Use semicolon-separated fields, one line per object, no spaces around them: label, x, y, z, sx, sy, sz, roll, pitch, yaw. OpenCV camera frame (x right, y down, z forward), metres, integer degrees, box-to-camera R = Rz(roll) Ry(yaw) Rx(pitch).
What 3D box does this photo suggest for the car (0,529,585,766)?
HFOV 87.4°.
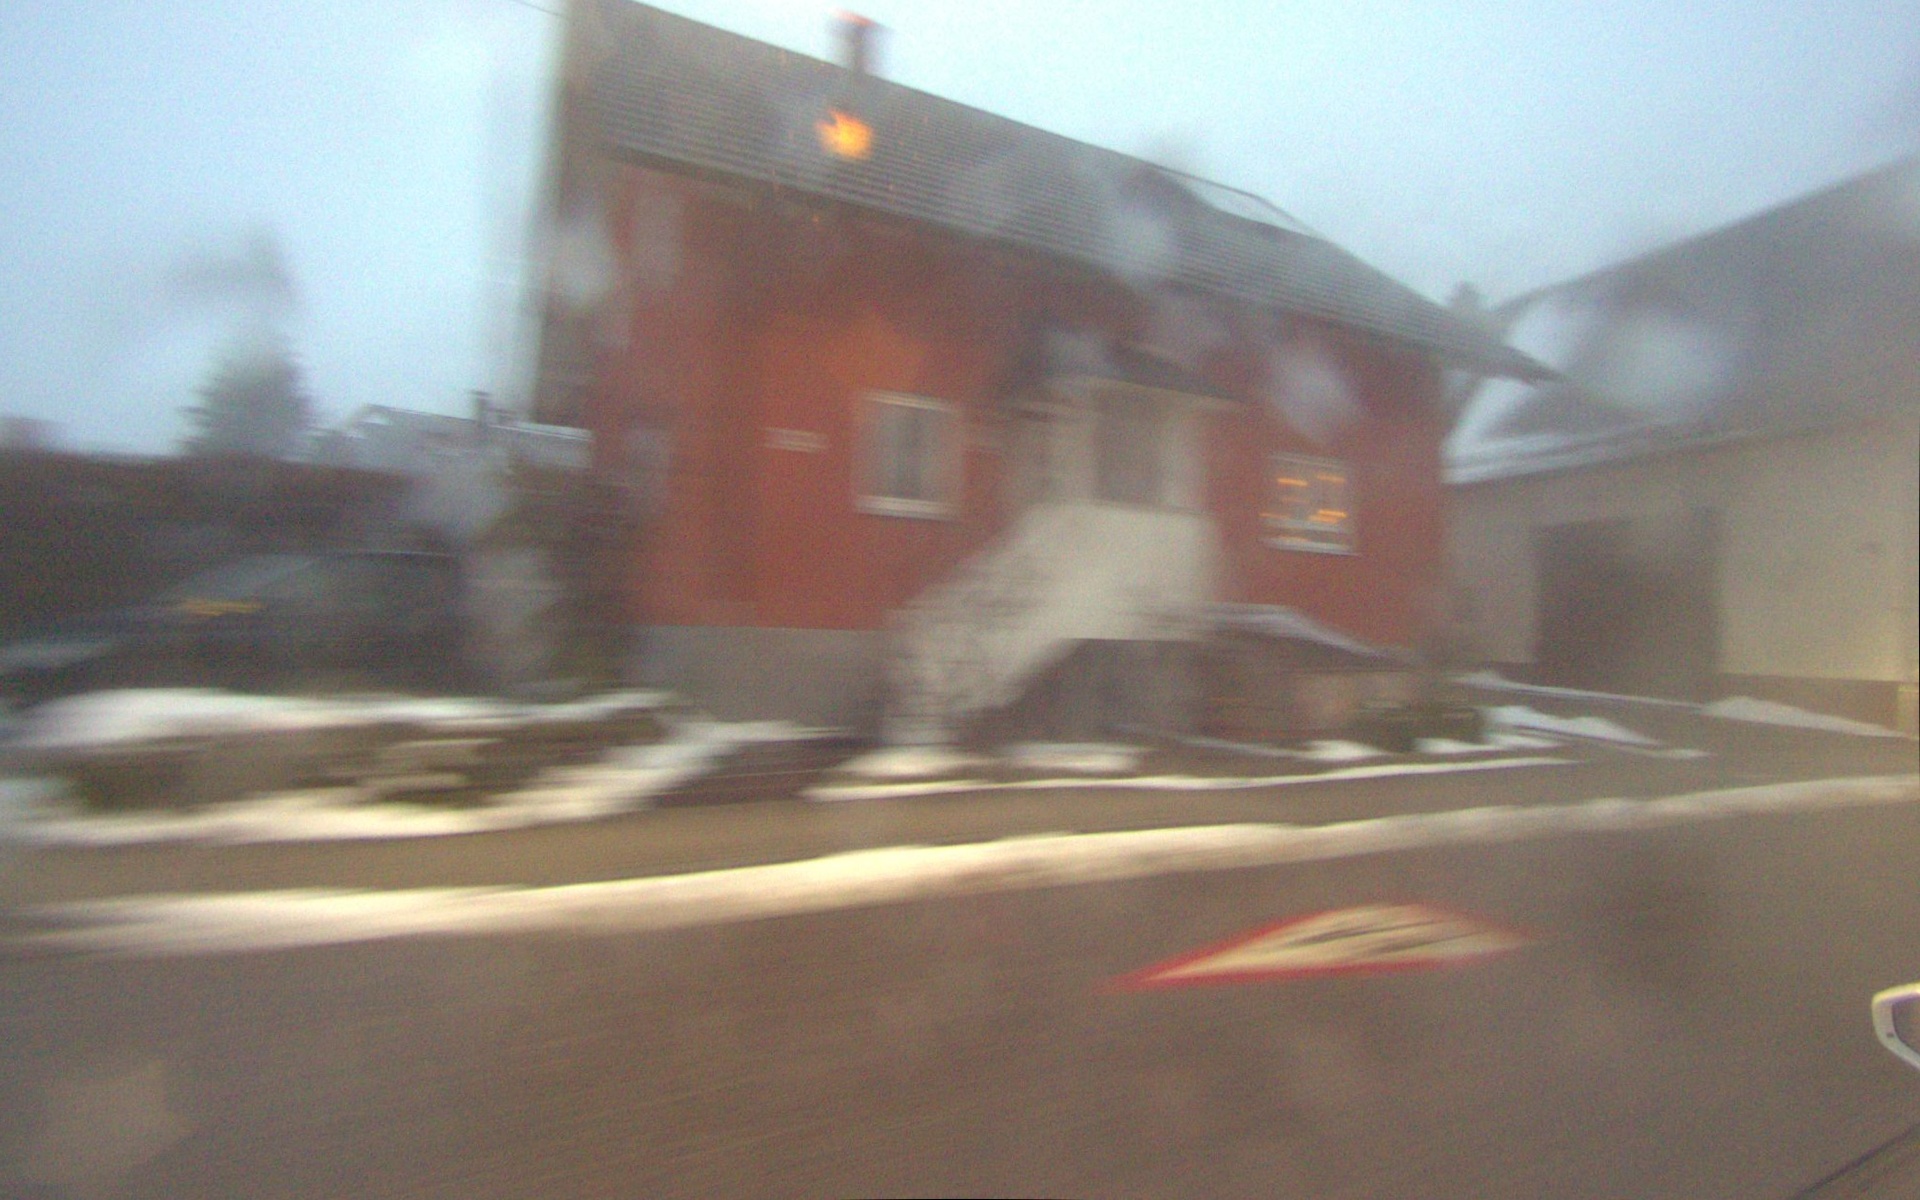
car;-5.569;0.352;8.626;1.850;1.524;3.984;3;-1;38
